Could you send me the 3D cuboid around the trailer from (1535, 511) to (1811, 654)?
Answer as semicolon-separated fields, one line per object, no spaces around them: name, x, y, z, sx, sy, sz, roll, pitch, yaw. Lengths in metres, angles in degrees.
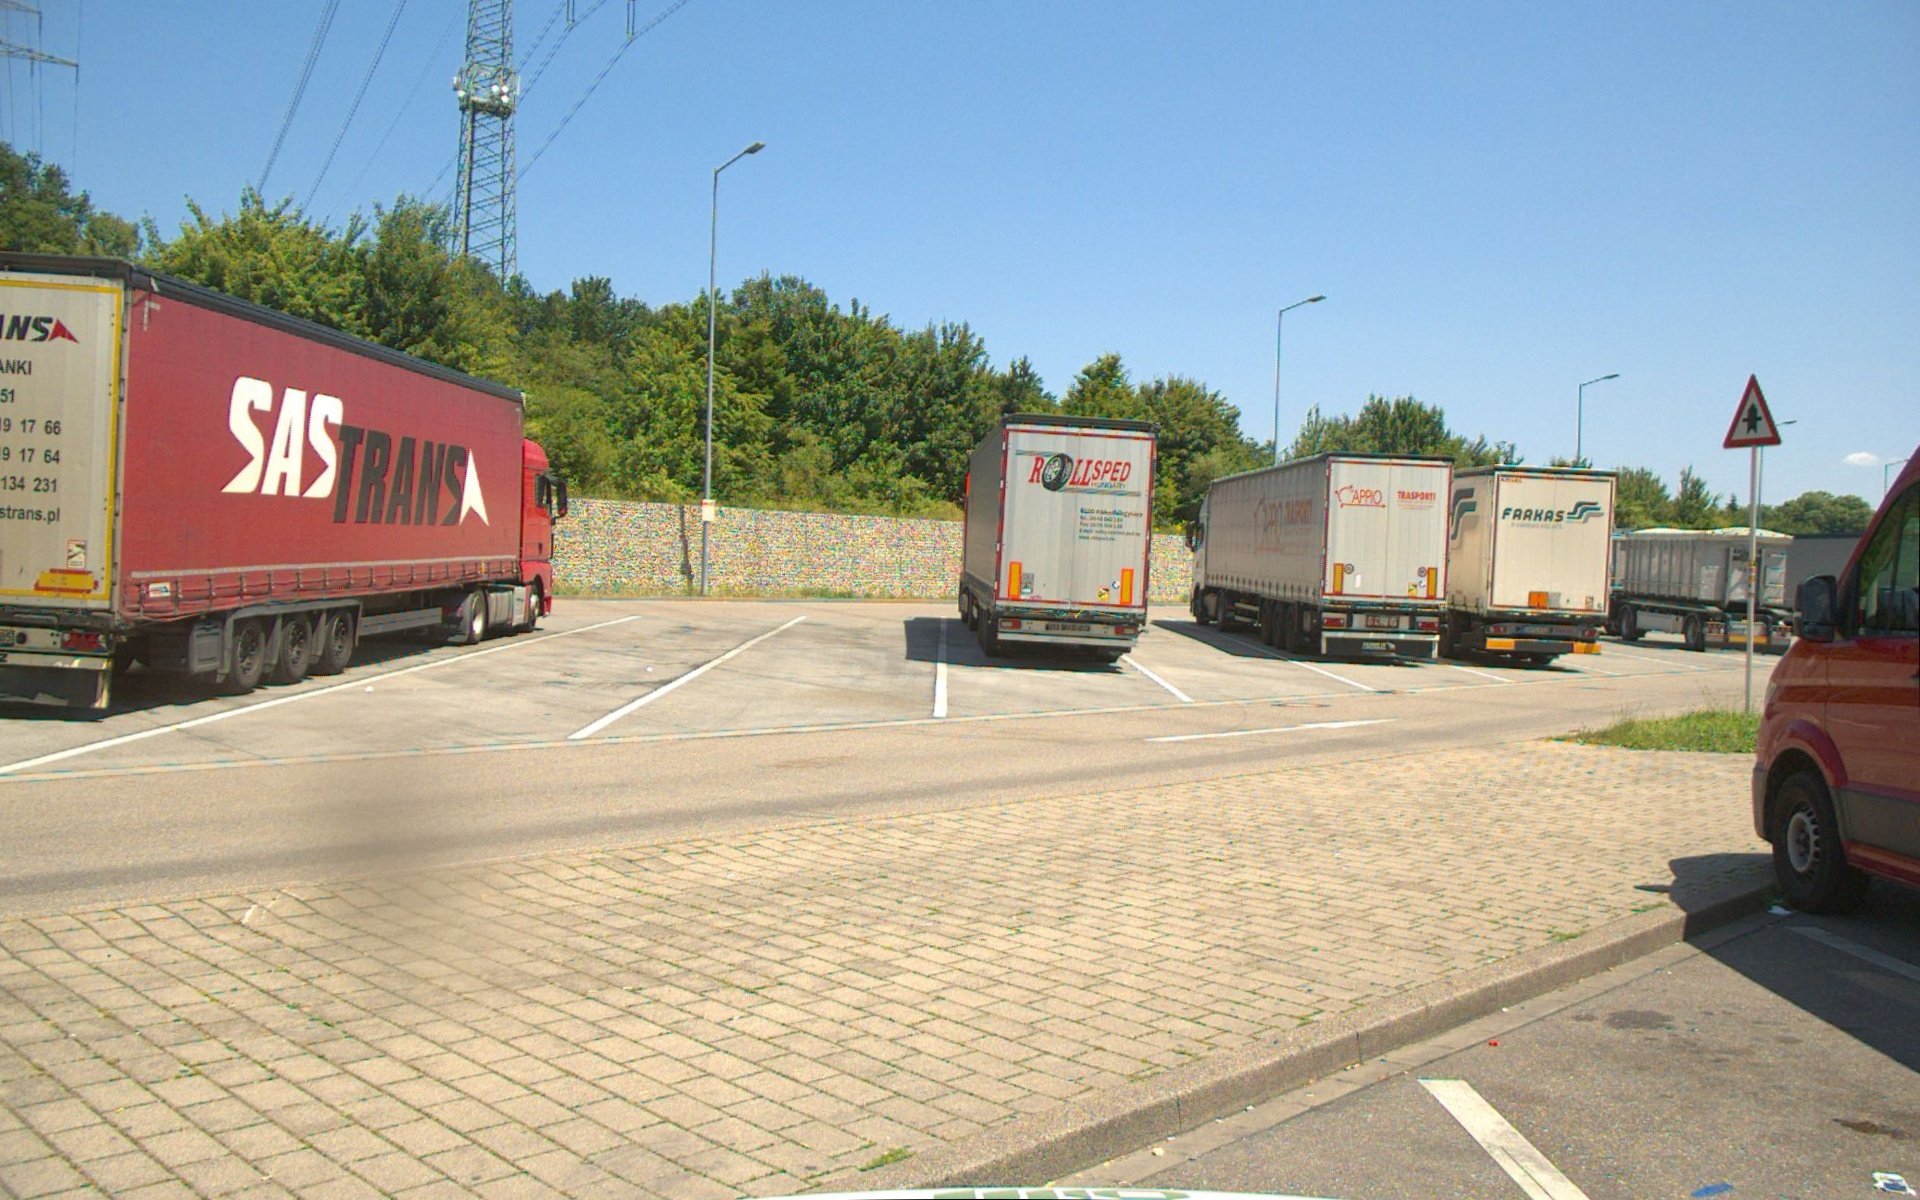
trailer;21.928;-0.678;52.204;2.780;3.781;13.726;3;2;1

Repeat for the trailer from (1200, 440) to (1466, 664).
trailer;8.212;-1.135;38.825;2.781;4.204;13.722;2;2;-1

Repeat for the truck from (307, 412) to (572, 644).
truck;-8.792;-1.206;28.619;2.794;3.487;5.482;2;2;-1

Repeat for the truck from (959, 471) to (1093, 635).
truck;1.483;-1.141;39.845;2.794;3.544;5.482;2;2;-1

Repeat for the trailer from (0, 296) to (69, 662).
trailer;-12.523;-1.310;15.700;2.673;4.282;10.170;2;2;-1

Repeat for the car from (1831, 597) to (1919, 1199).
car;2.600;0.799;1.152;1.703;1.508;3.813;1;1;-6

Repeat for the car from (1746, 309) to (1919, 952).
car;5.011;0.165;5.557;2.023;2.742;6.397;1;1;4

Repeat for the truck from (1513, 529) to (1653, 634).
truck;22.009;-0.708;58.709;2.794;3.423;5.484;3;2;0

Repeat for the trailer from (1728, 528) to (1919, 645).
trailer;34.941;-0.634;65.408;2.780;4.119;13.726;3;2;1

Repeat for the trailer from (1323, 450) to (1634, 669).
trailer;11.771;-1.013;39.630;2.781;4.204;13.722;2;2;-1

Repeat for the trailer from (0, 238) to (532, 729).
trailer;-8.678;-1.297;21.183;2.848;4.203;13.723;2;2;-1

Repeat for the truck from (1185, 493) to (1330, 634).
truck;8.097;-1.034;45.634;2.794;3.544;5.482;2;2;-1

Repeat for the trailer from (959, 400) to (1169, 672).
trailer;1.651;-1.229;33.236;2.848;4.204;13.720;2;2;-1
